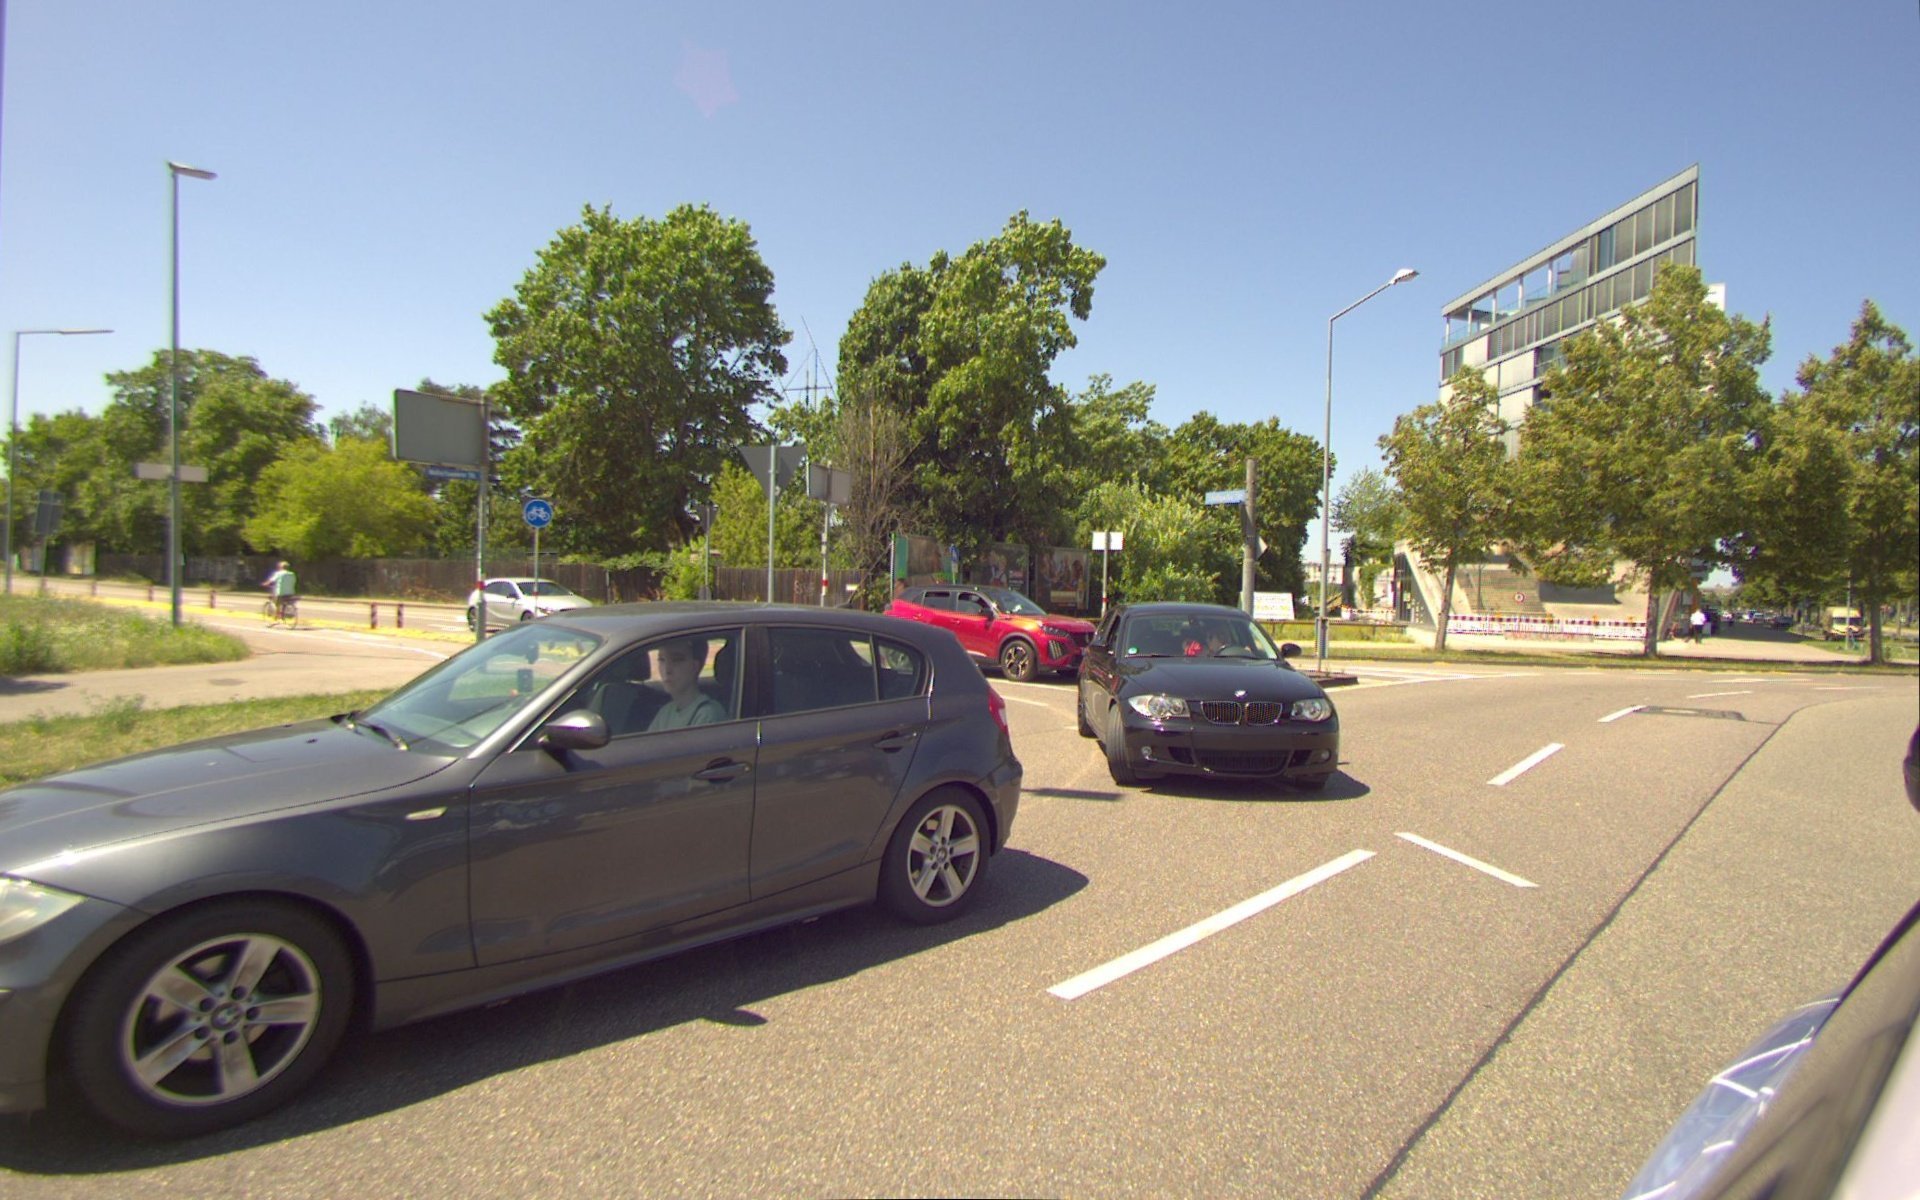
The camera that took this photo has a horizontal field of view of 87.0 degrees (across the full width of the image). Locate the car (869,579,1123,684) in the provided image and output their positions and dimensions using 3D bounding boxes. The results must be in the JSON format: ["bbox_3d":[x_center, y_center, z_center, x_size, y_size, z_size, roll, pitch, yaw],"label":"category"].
[{"bbox_3d":[0.556,0.459,17.568,4.187,1.546,1.699,2,1,37],"label":"car"}]

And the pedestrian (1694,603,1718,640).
[{"bbox_3d":[39.047,1.125,52.941,0.601,1.892,0.834,0,2,-39],"label":"pedestrian"}]

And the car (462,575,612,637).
[{"bbox_3d":[-11.102,0.103,26.473,3.976,1.446,1.840,2,2,36],"label":"car"}]

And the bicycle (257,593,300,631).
[{"bbox_3d":[-17.891,0.301,26.595,0.616,0.890,1.880,1,1,-24],"label":"bicycle"}]

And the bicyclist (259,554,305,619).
[{"bbox_3d":[-17.801,-0.352,26.597,0.733,1.661,1.165,2,0,-22],"label":"bicyclist"}]

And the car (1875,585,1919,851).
[{"bbox_3d":[6.475,0.722,4.222,1.601,1.527,3.823,1,1,-5],"label":"car"}]

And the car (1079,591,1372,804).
[{"bbox_3d":[2.083,0.660,9.082,1.770,1.458,3.996,1,1,3],"label":"car"}]

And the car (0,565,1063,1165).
[{"bbox_3d":[-1.575,0.633,4.207,4.010,1.421,1.750,1,0,-42],"label":"car"}]

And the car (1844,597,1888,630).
[{"bbox_3d":[72.198,1.081,80.683,1.986,2.540,3.952,2,0,33],"label":"car"}]
